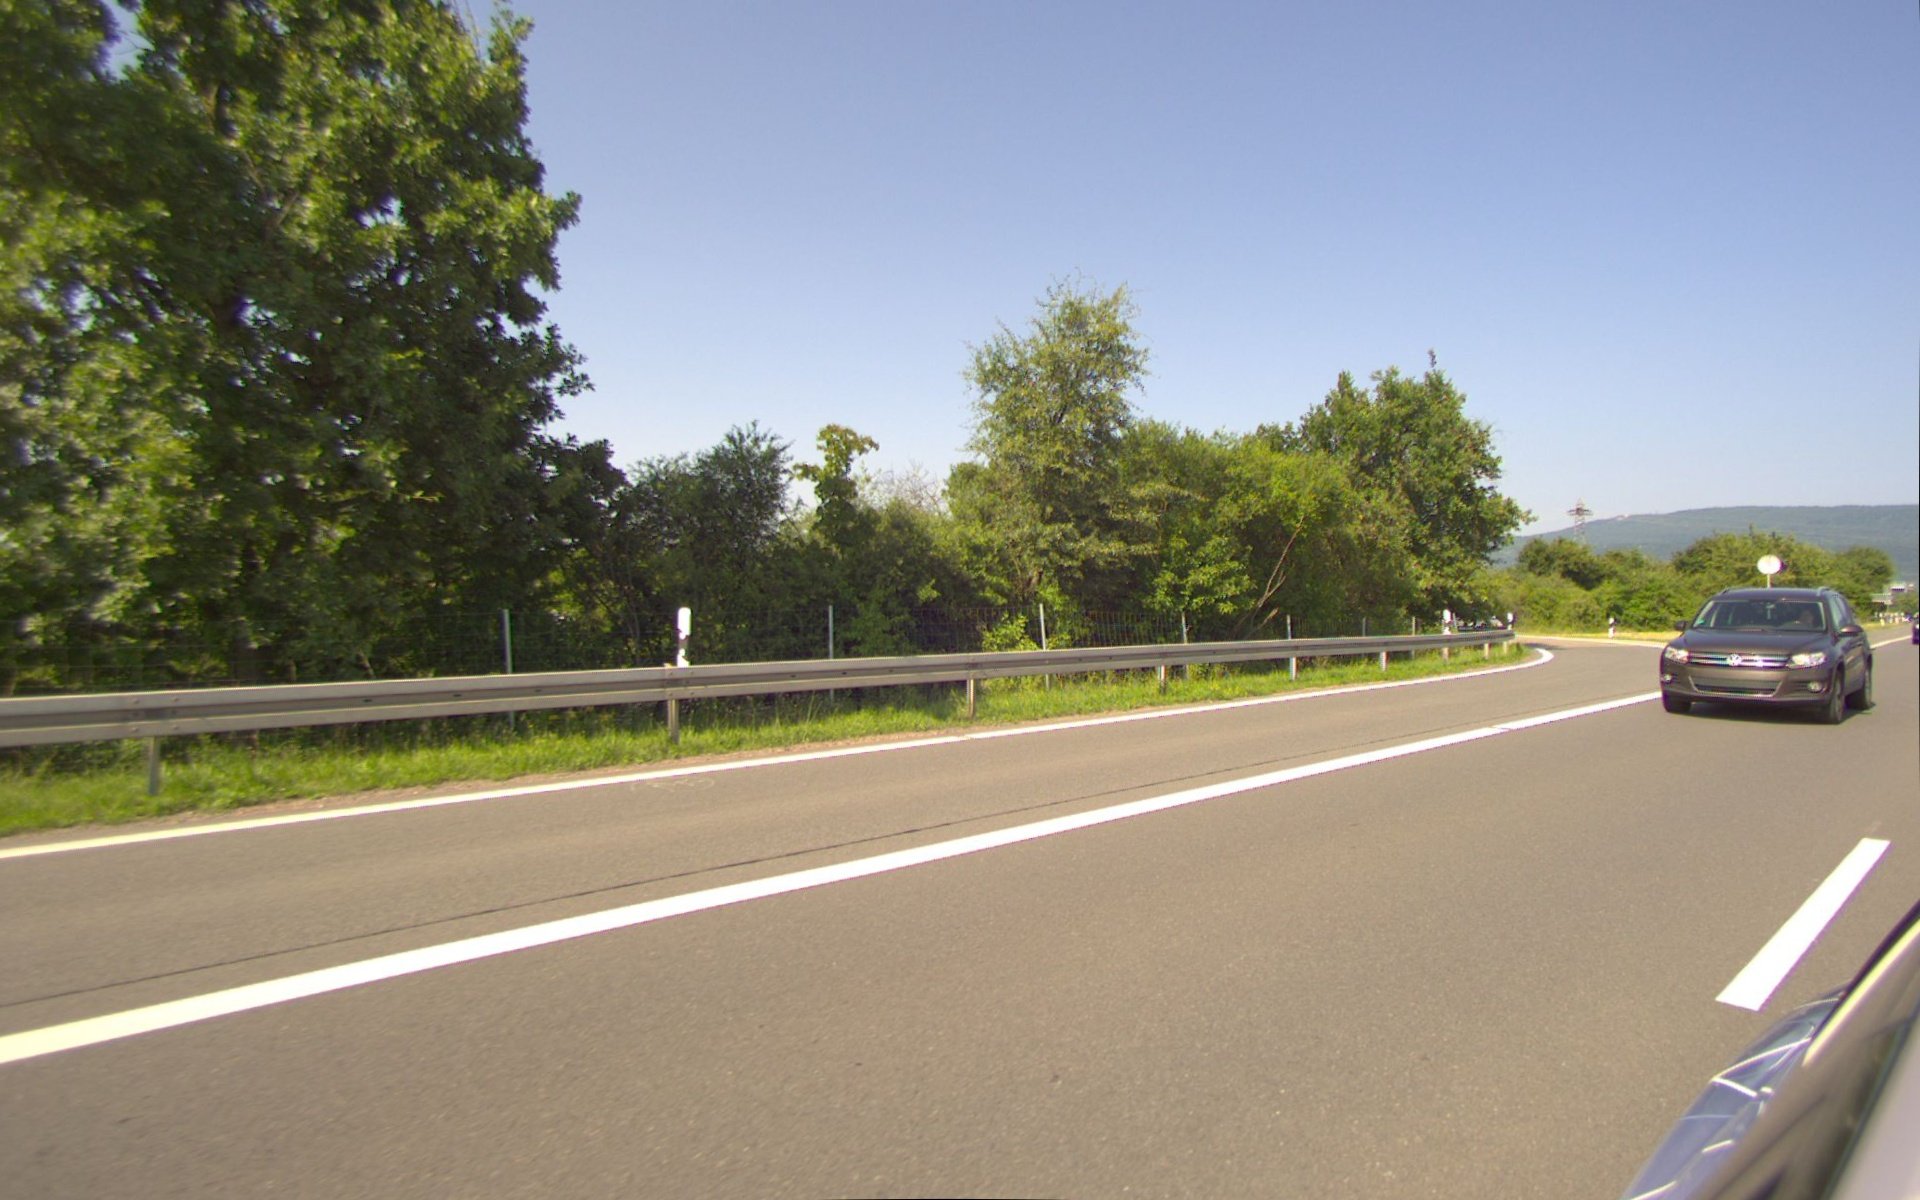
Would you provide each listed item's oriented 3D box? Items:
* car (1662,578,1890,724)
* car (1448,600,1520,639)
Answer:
[{"bbox_3d":[11.052,0.560,13.606,4.077,1.667,1.788,0,0,-42],"label":"car"},{"bbox_3d":[27.293,0.979,52.854,1.832,1.686,3.998,-1,3,4],"label":"car"}]
